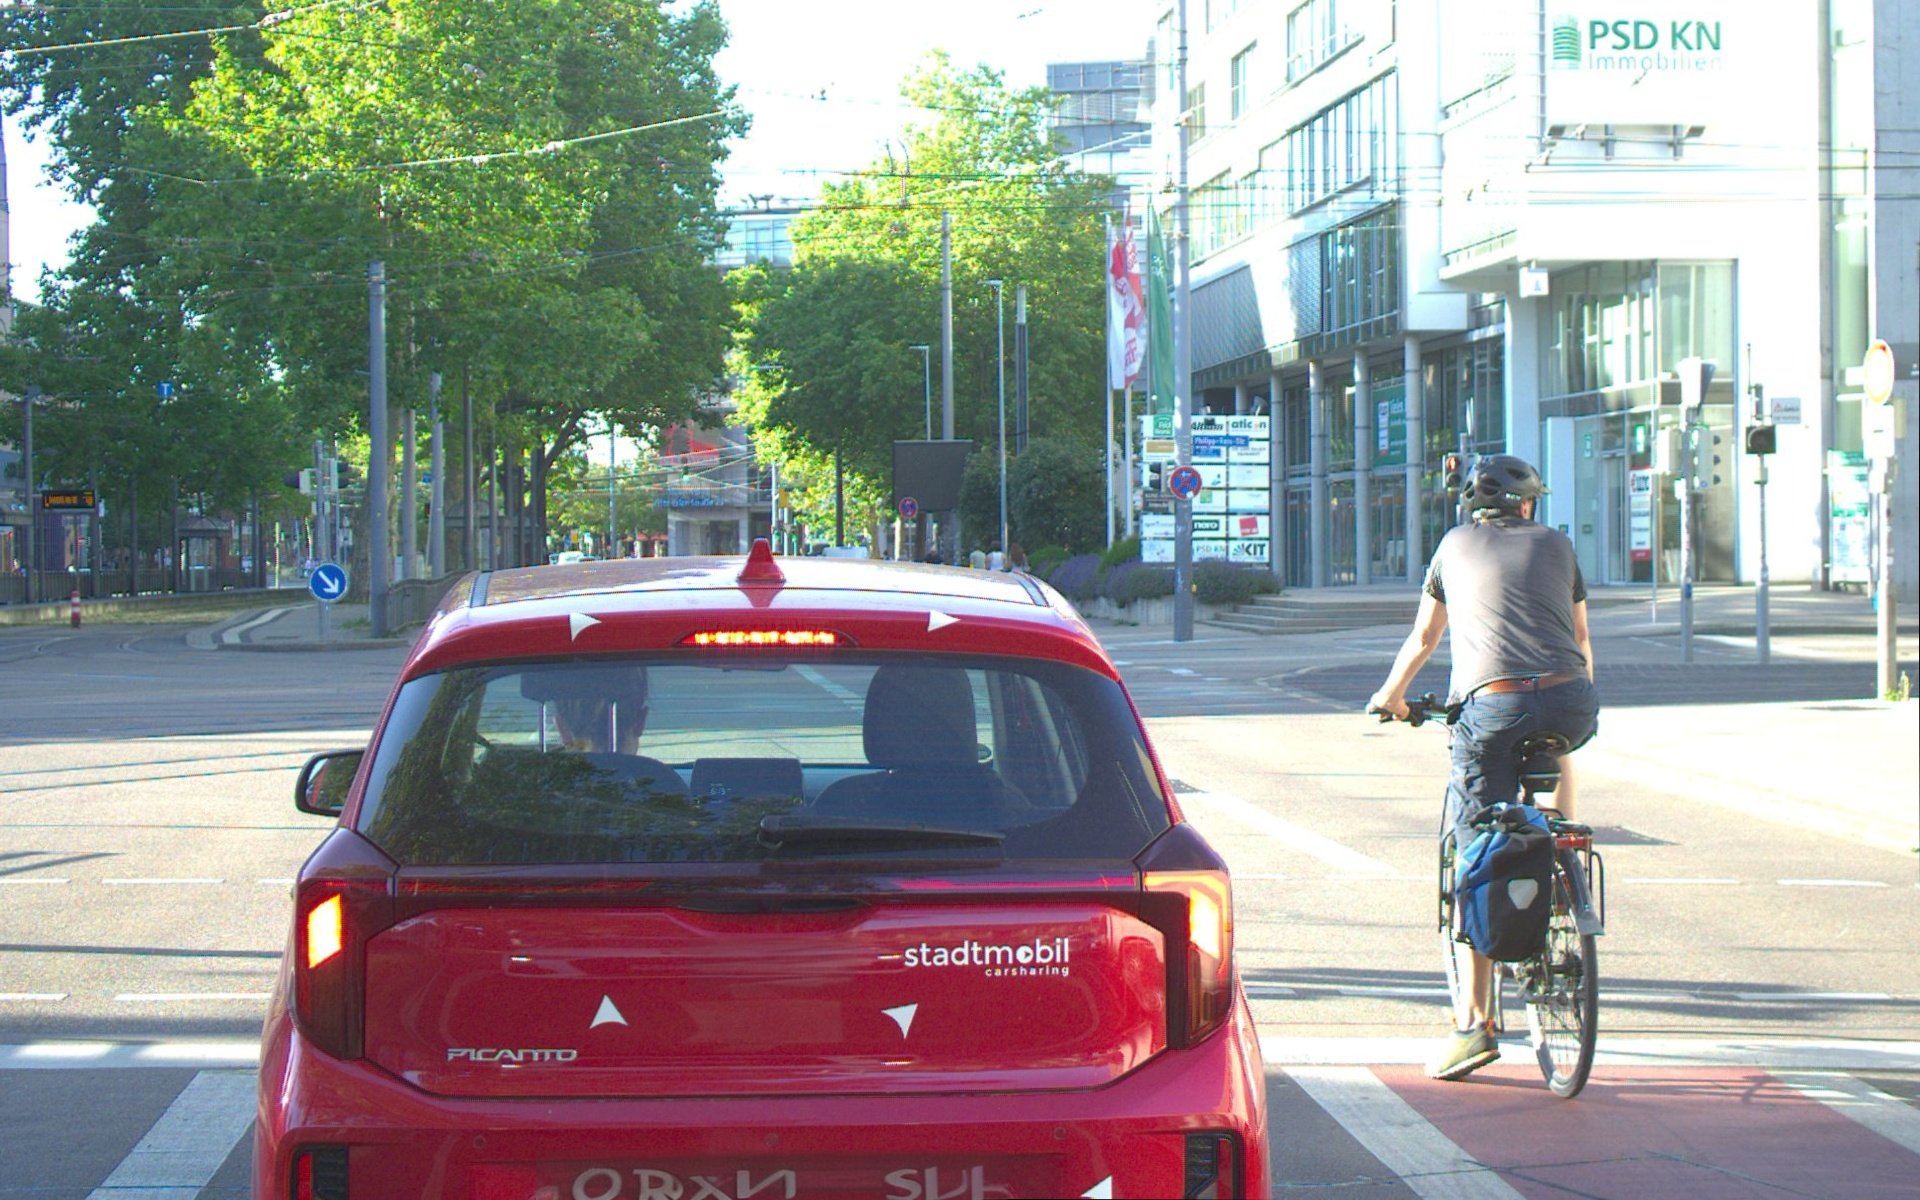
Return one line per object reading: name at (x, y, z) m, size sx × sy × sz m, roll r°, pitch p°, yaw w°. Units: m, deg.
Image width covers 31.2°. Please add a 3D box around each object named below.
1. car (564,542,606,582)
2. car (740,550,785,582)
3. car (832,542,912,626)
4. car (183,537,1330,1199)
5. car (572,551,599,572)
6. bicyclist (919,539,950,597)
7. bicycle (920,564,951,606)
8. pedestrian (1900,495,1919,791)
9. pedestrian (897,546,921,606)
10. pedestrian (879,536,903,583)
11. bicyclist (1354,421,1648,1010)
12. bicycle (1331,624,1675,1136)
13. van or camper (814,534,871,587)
car at (-19.172, -1.952, 175.586) m, size 1.993 × 2.007 × 4.001 m, roll -1°, pitch 1°, yaw -8°
car at (-9.613, -1.662, 167.218) m, size 1.777 × 1.529 × 3.513 m, roll 0°, pitch 1°, yaw -10°
car at (-1.966, -0.368, 76.063) m, size 1.635 × 1.794 × 3.330 m, roll -1°, pitch 1°, yaw -3°
car at (-0.430, 0.651, 6.554) m, size 1.613 × 1.529 × 3.412 m, roll 0°, pitch 1°, yaw -5°
car at (-27.850, -2.845, 255.842) m, size 1.777 × 1.529 × 3.413 m, roll 0°, pitch 1°, yaw -10°
bicyclist at (-0.729, -0.914, 97.296) m, size 0.722 × 1.597 × 1.089 m, roll -3°, pitch 1°, yaw 4°
bicycle at (-0.691, -0.432, 97.339) m, size 0.696 × 1.094 × 1.751 m, roll -4°, pitch 2°, yaw 3°
pedestrian at (6.267, 0.264, 20.837) m, size 0.777 × 1.817 × 1.216 m, roll -1°, pitch 1°, yaw -1°
pedestrian at (-1.452, -0.690, 97.441) m, size 0.646 × 1.674 × 0.651 m, roll -1°, pitch 1°, yaw 1°
pedestrian at (-2.374, -1.395, 117.631) m, size 0.641 × 1.574 × 0.723 m, roll -4°, pitch 1°, yaw -7°
bicyclist at (1.536, 0.305, 9.896) m, size 0.650 × 1.597 × 1.089 m, roll -1°, pitch 1°, yaw -1°
bicycle at (1.519, 0.736, 9.927) m, size 0.650 × 1.276 × 1.966 m, roll -1°, pitch 1°, yaw -1°
van or camper at (-4.544, -1.520, 132.300) m, size 1.993 × 1.982 × 4.745 m, roll 0°, pitch 1°, yaw -4°
